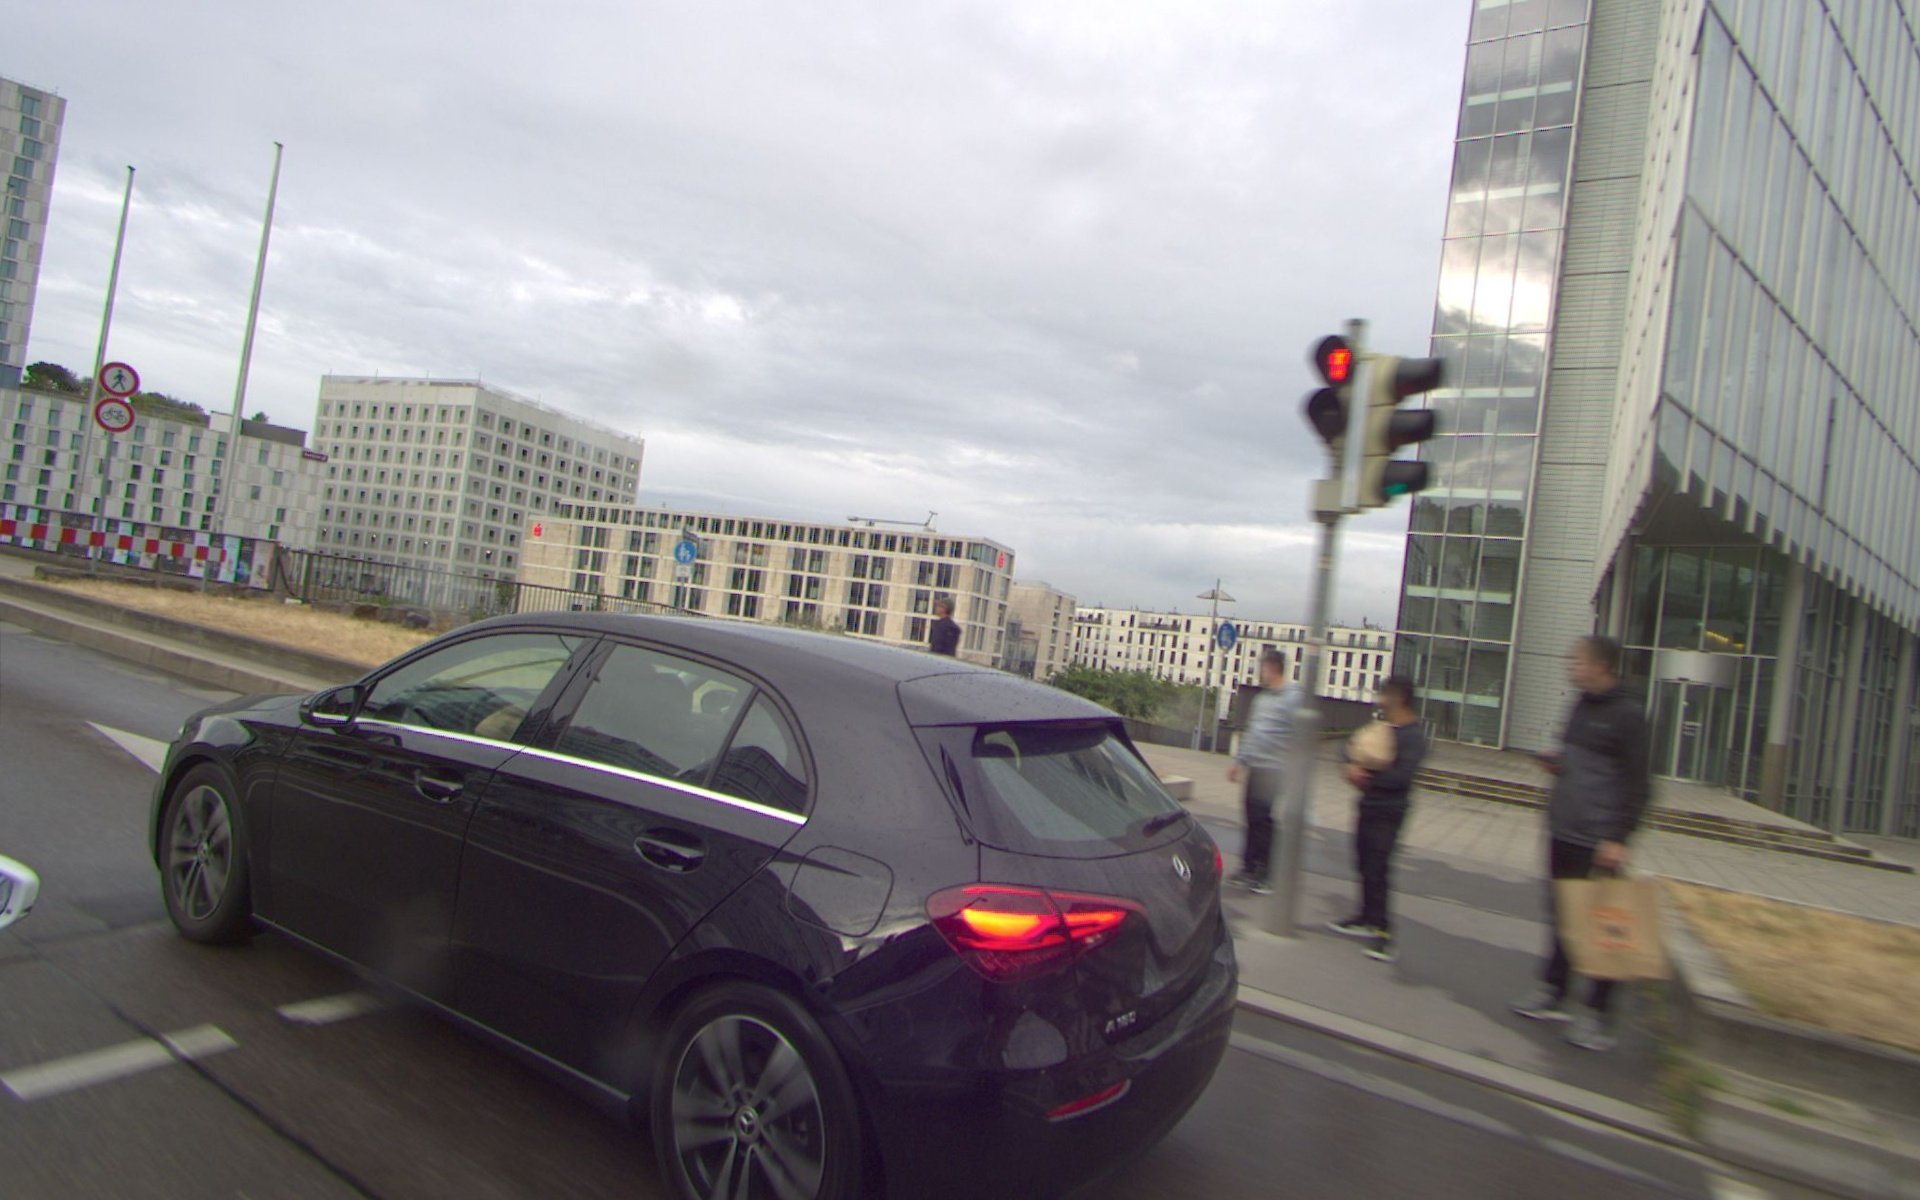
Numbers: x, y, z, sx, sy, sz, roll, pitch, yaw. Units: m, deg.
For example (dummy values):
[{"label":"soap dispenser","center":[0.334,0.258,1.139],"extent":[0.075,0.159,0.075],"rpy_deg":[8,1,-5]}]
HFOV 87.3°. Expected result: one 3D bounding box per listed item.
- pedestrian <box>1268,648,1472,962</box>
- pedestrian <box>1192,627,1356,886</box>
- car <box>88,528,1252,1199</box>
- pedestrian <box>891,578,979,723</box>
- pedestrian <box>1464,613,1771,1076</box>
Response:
[{"label":"pedestrian","center":[2.286,1.125,5.664],"extent":[0.544,1.597,0.667],"rpy_deg":[8,1,-24]},{"label":"pedestrian","center":[2.107,1.037,6.800],"extent":[0.544,1.597,0.667],"rpy_deg":[8,1,-24]},{"label":"car","center":[-1.268,0.706,3.861],"extent":[4.135,1.453,1.876],"rpy_deg":[6,-2,31]},{"label":"pedestrian","center":[-0.305,0.590,12.017],"extent":[0.662,1.597,0.665],"rpy_deg":[8,1,-21]},{"label":"pedestrian","center":[2.923,1.036,4.552],"extent":[0.542,1.864,0.781],"rpy_deg":[8,1,-12]}]
